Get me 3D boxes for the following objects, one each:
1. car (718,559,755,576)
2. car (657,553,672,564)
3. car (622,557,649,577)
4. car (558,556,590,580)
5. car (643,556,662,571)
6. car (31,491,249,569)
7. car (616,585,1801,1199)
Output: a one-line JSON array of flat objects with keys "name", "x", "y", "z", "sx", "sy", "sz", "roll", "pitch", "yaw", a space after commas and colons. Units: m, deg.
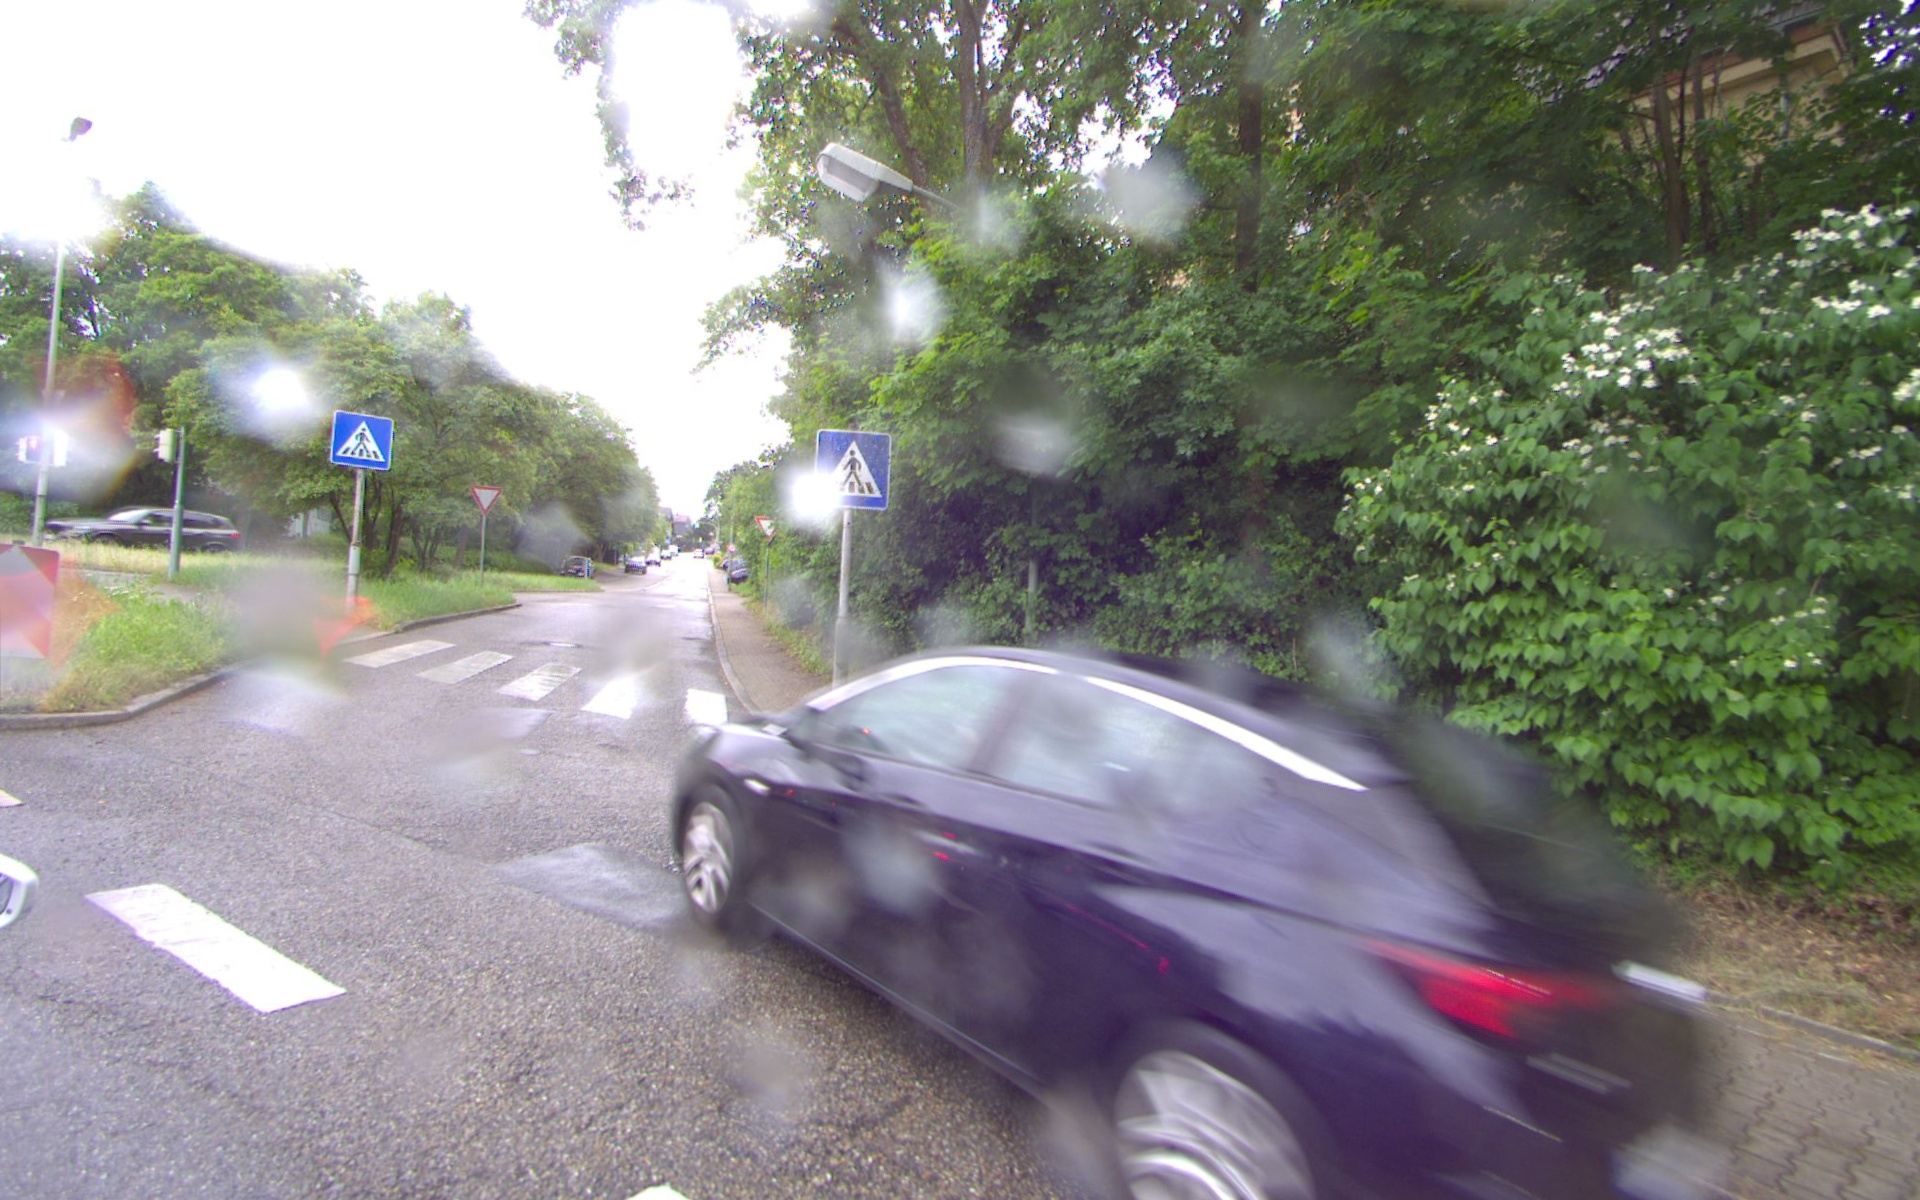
[{"name": "car", "x": -25.861, "y": -3.779, "z": 116.148, "sx": 3.939, "sy": 1.594, "sz": 1.766, "roll": 5, "pitch": 1, "yaw": -18}, {"name": "car", "x": -46.864, "y": -6.550, "z": 159.564, "sx": 1.877, "sy": 1.413, "sz": 4.151, "roll": 7, "pitch": -2, "yaw": -20}, {"name": "car", "x": -30.196, "y": -3.087, "z": 93.788, "sx": 1.874, "sy": 1.467, "sz": 4.285, "roll": 7, "pitch": -2, "yaw": -13}, {"name": "car", "x": -25.980, "y": -2.128, "z": 67.793, "sx": 1.651, "sy": 1.387, "sz": 3.477, "roll": 6, "pitch": 0, "yaw": -16}, {"name": "car", "x": -37.800, "y": -4.510, "z": 123.701, "sx": 1.968, "sy": 1.463, "sz": 4.278, "roll": 7, "pitch": -2, "yaw": -19}, {"name": "car", "x": -24.694, "y": -2.048, "z": 30.546, "sx": 1.963, "sy": 1.738, "sz": 4.715, "roll": 6, "pitch": 0, "yaw": 20}, {"name": "car", "x": 0.382, "y": 0.895, "z": 3.935, "sx": 1.805, "sy": 1.460, "sz": 4.116, "roll": 8, "pitch": -1, "yaw": -40}]
